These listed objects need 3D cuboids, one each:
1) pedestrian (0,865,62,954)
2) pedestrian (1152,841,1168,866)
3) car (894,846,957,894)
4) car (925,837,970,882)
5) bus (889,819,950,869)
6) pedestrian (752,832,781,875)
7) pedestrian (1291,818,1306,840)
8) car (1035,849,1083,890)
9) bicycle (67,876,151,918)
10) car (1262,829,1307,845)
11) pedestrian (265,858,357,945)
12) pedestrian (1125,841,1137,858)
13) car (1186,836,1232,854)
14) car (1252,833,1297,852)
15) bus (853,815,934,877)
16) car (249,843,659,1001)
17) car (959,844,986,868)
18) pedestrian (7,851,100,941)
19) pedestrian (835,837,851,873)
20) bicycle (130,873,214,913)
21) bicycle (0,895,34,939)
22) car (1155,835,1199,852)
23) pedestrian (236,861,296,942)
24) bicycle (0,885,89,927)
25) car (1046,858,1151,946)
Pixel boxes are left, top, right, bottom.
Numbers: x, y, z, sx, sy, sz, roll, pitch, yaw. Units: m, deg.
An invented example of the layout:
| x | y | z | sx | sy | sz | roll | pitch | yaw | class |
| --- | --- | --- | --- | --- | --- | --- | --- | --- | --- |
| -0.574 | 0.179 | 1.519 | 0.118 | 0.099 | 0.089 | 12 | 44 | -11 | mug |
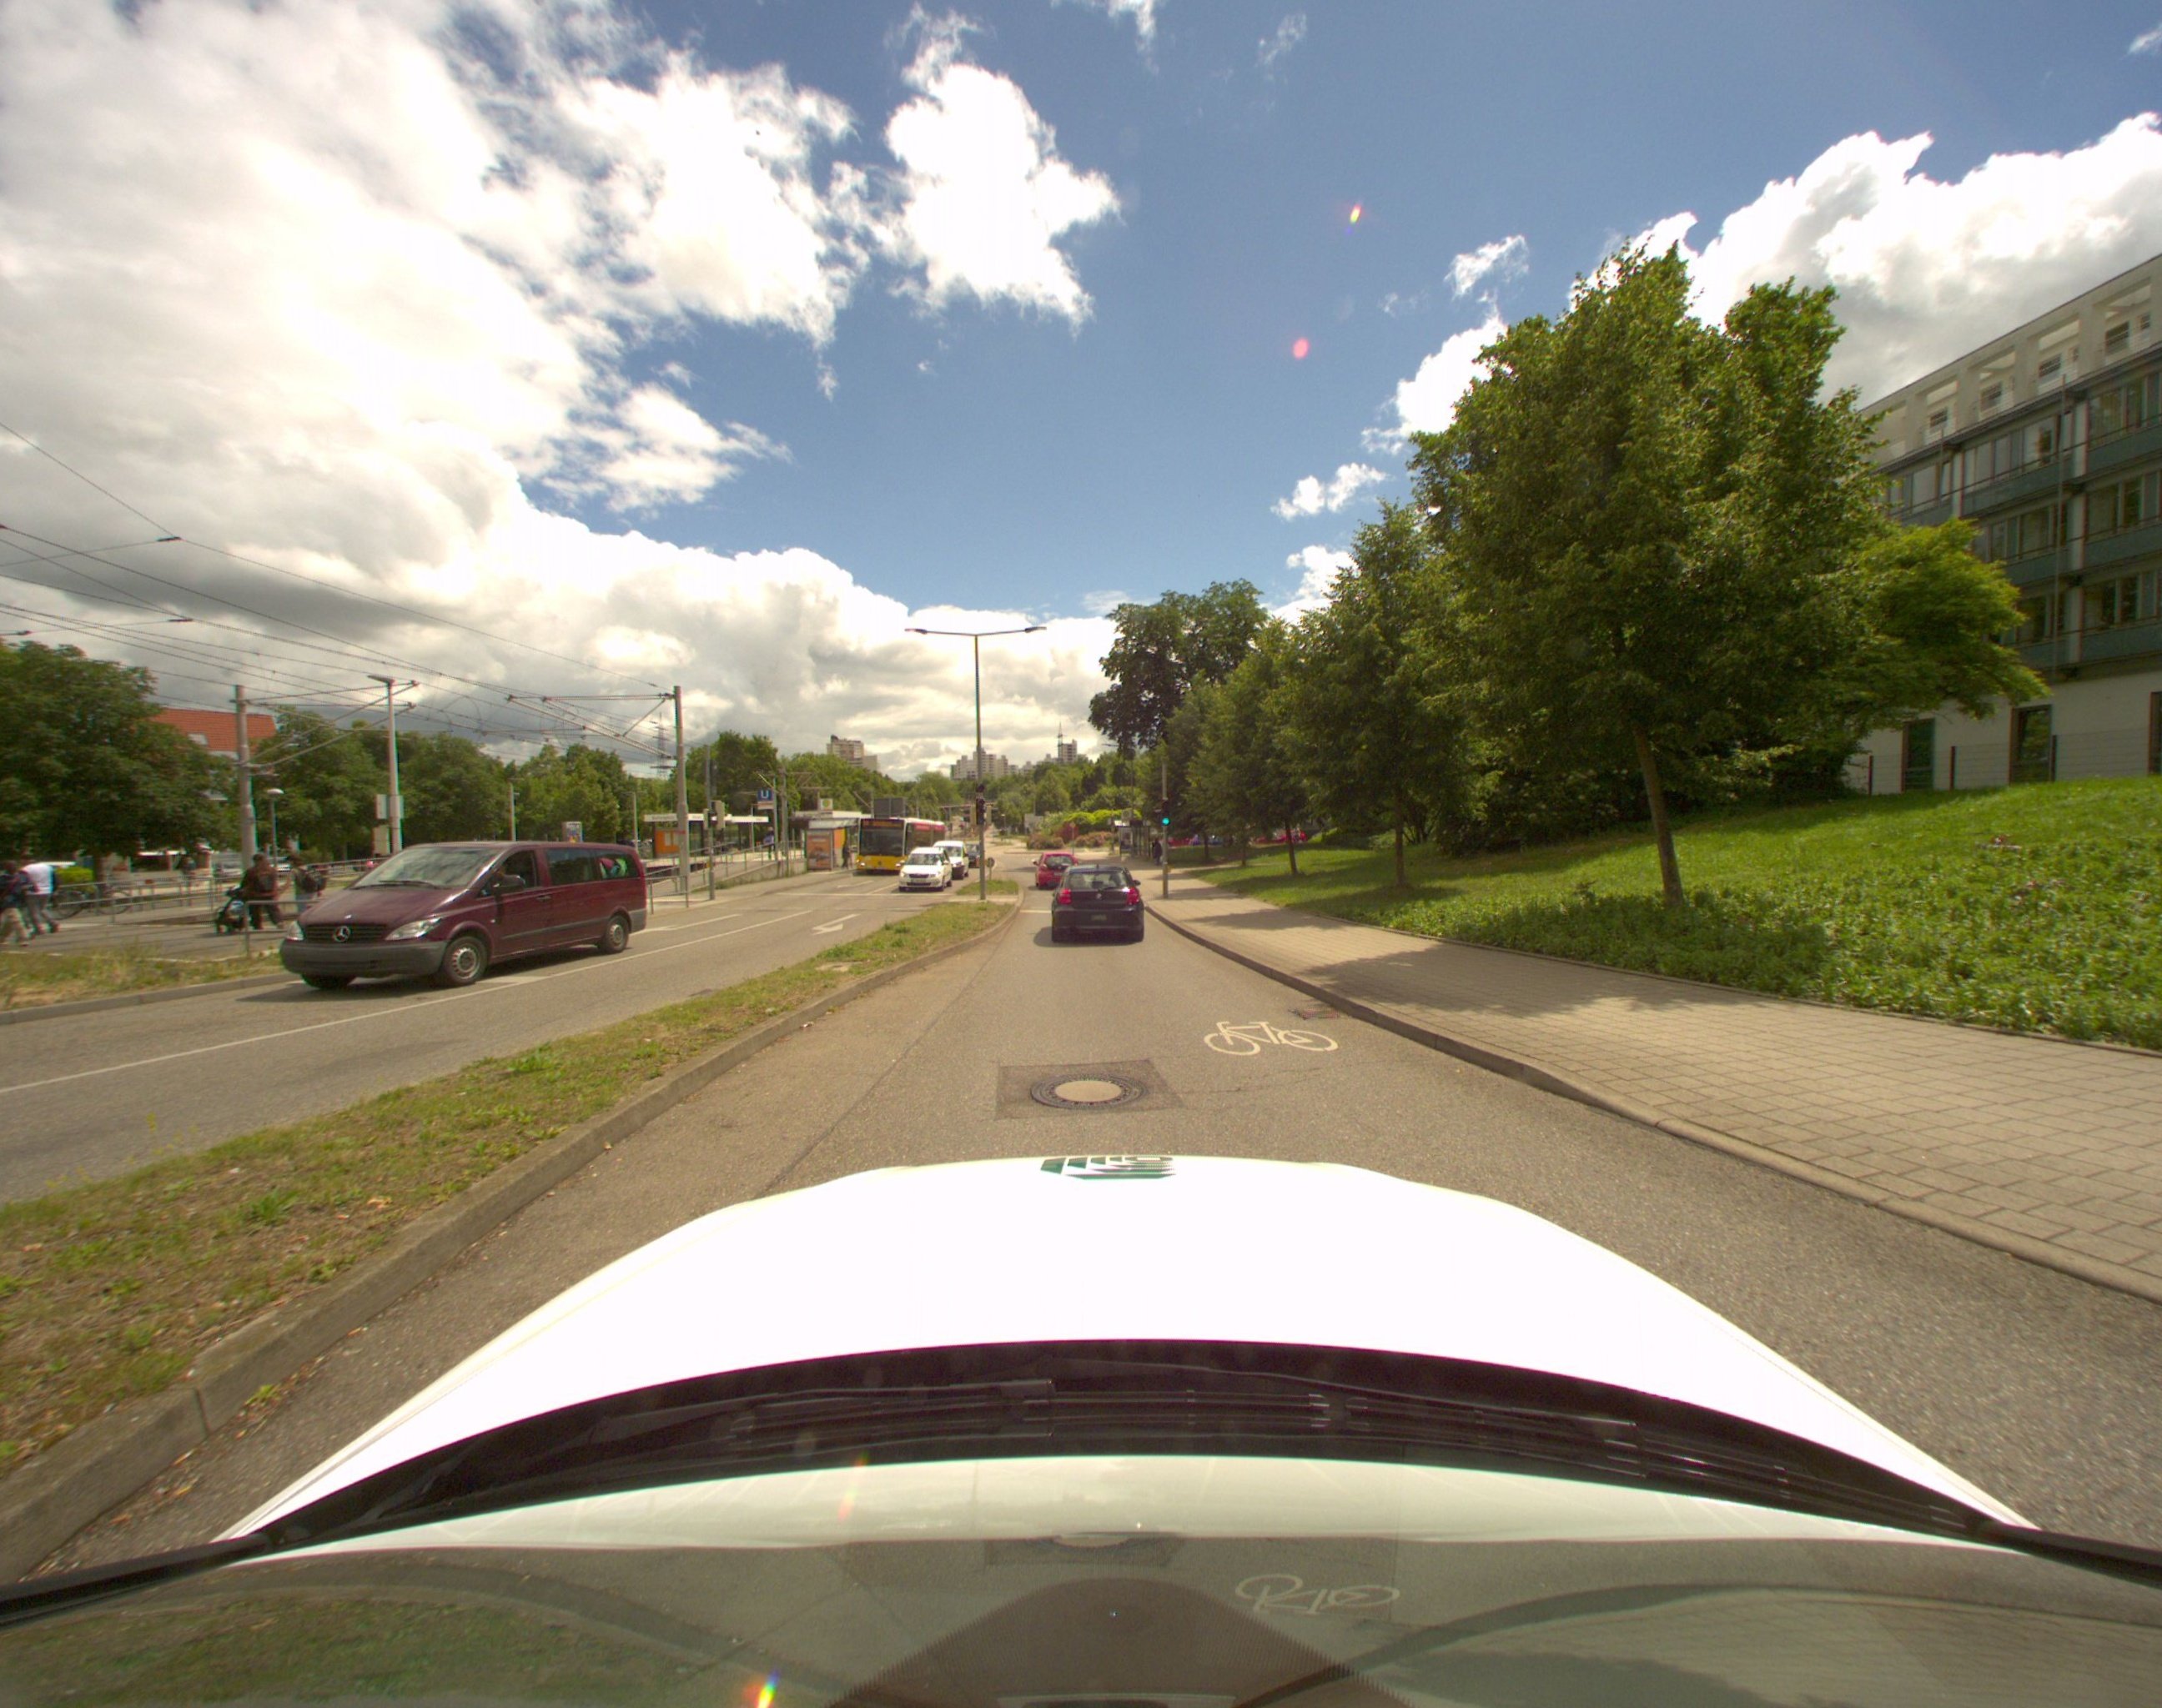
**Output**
| x | y | z | sx | sy | sz | roll | pitch | yaw | class |
| --- | --- | --- | --- | --- | --- | --- | --- | --- | --- |
| -19.816 | 1.019 | 15.132 | 0.834 | 1.604 | 0.667 | -2 | 0 | -16 | pedestrian |
| 4.590 | -0.035 | 47.342 | 0.818 | 1.424 | 0.829 | -2 | 0 | -3 | pedestrian |
| -5.956 | 0.565 | 31.572 | 1.694 | 1.648 | 4.077 | 0 | 1 | -1 | car |
| -6.434 | 0.201 | 39.640 | 1.759 | 1.661 | 4.500 | -2 | 5 | -5 | car |
| -10.804 | -0.758 | 55.292 | 2.720 | 3.069 | 8.955 | -1 | 2 | -3 | bus |
| -15.292 | -0.026 | 39.592 | 0.968 | 2.013 | 1.028 | -2 | 0 | -1 | pedestrian |
| 17.622 | -2.046 | 65.965 | 0.980 | 1.760 | 0.860 | -2 | 0 | 6 | pedestrian |
| -0.910 | 0.567 | 32.569 | 1.761 | 1.432 | 3.476 | -2 | 1 | -3 | car |
| -27.148 | 1.211 | 22.761 | 1.887 | 1.098 | 0.610 | -1 | 1 | 10 | bicycle |
| 21.277 | -1.780 | 85.303 | 4.075 | 1.502 | 1.997 | -3 | 3 | -6 | car |
| -15.172 | 0.914 | 16.076 | 0.858 | 1.636 | 0.920 | -2 | 0 | 0 | pedestrian |
| 3.911 | -0.355 | 63.404 | 0.825 | 1.258 | 0.686 | -1 | 1 | -1 | pedestrian |
| 11.802 | -0.847 | 75.036 | 3.789 | 1.456 | 1.892 | -3 | 3 | -7 | car |
| 17.956 | -1.109 | 75.787 | 3.682 | 1.643 | 1.826 | -1 | 3 | -6 | car |
| -10.339 | -0.540 | 45.956 | 2.720 | 3.108 | 9.694 | -1 | 2 | -3 | bus |
| -8.624 | 0.788 | 12.017 | 1.986 | 1.822 | 5.074 | -1 | 0 | 2 | car |
| -7.109 | 0.106 | 53.497 | 1.527 | 1.551 | 3.727 | 0 | 1 | -4 | car |
| -21.740 | 0.875 | 17.249 | 0.903 | 1.821 | 0.772 | -2 | 1 | 0 | pedestrian |
| -13.703 | 0.057 | 46.957 | 0.701 | 2.013 | 0.826 | -2 | 1 | -8 | pedestrian |
| -26.959 | 1.152 | 24.167 | 1.887 | 1.097 | 0.696 | -2 | 3 | 10 | bicycle |
| -27.624 | 1.601 | 20.362 | 1.894 | 1.063 | 0.693 | -2 | 0 | -2 | bicycle |
| 9.839 | -1.132 | 83.856 | 4.155 | 1.561 | 1.995 | -2 | 4 | -9 | car |
| -16.712 | 0.948 | 16.708 | 0.634 | 1.596 | 0.840 | -1 | 0 | 43 | pedestrian |
| -27.561 | 1.385 | 21.613 | 1.886 | 1.029 | 0.696 | -1 | 1 | 11 | bicycle |
| 0.236 | 0.852 | 16.338 | 1.811 | 1.420 | 3.996 | -2 | 1 | -3 | car |
